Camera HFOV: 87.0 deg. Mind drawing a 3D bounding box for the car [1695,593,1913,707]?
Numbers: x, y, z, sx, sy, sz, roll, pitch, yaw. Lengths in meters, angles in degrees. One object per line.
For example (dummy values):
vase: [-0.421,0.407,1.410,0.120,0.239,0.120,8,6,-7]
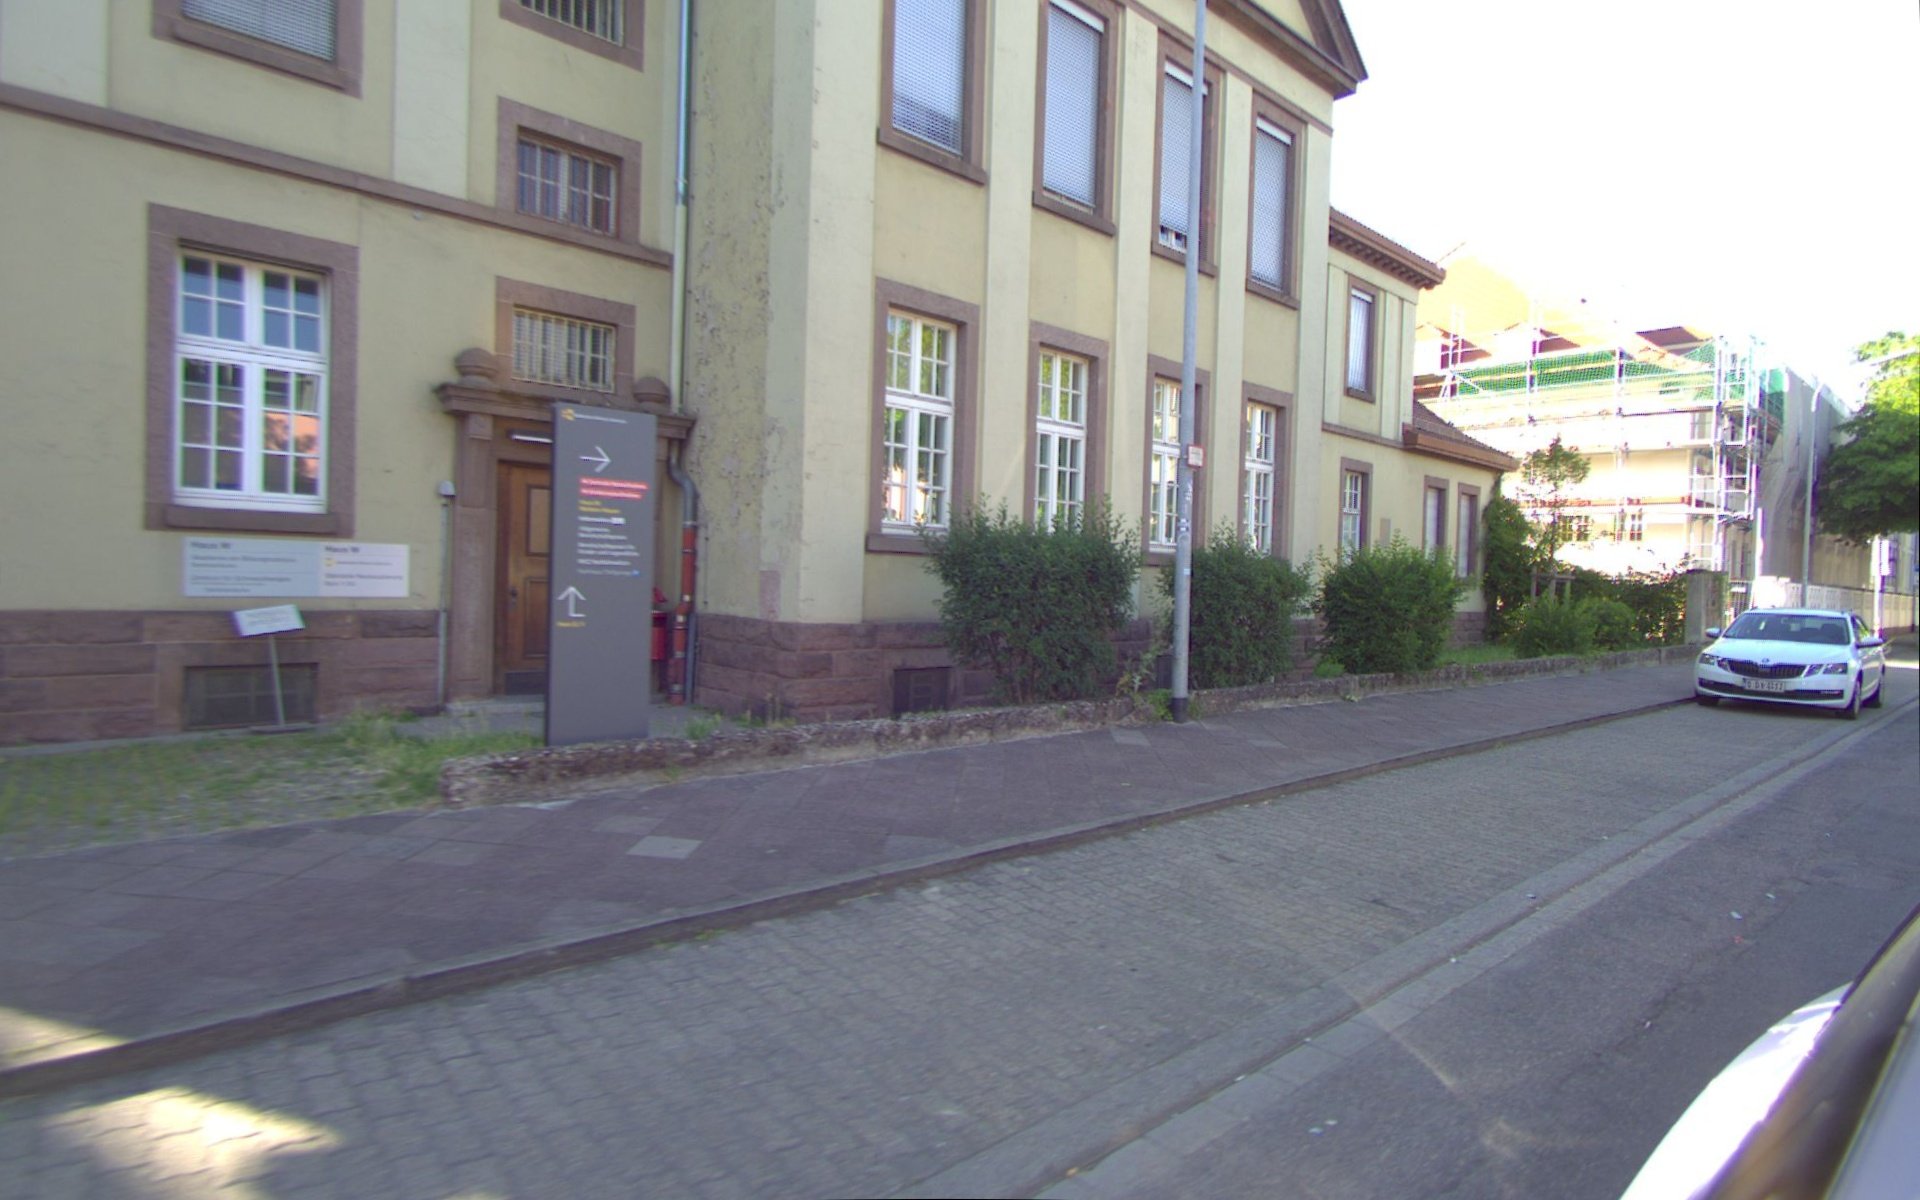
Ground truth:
car: [12.380,0.619,14.742,4.419,1.339,1.835,0,2,-43]
